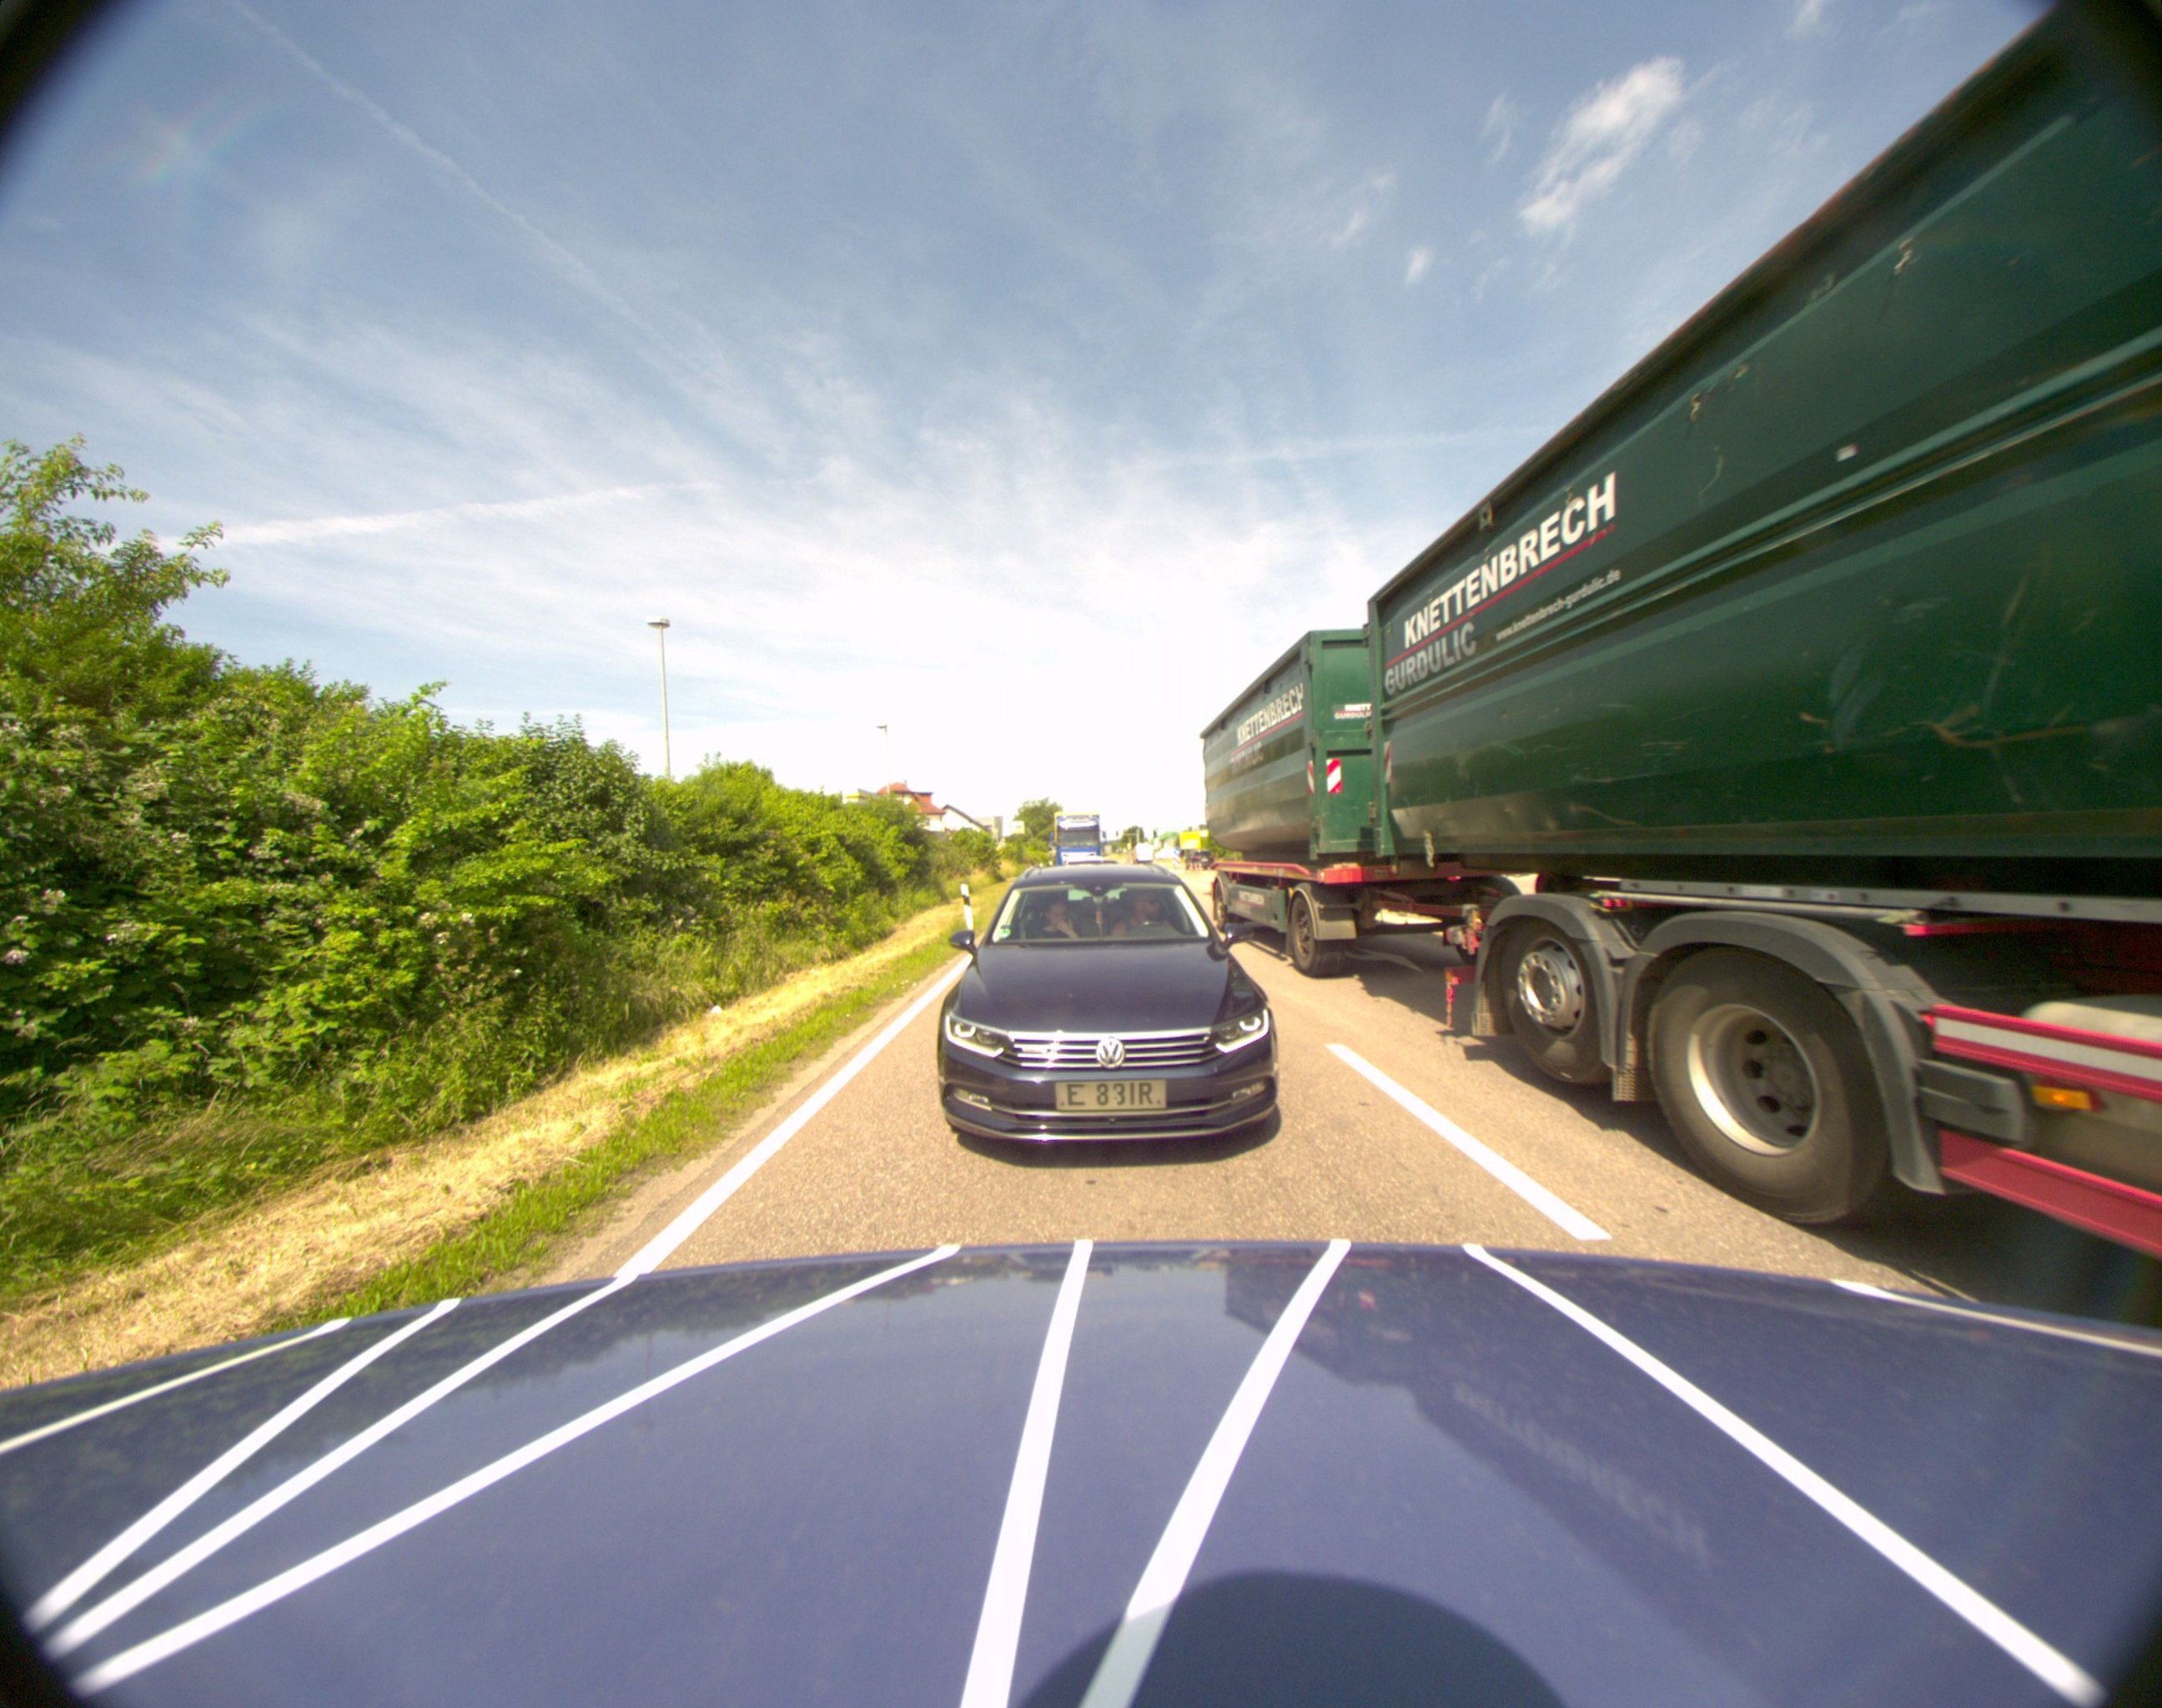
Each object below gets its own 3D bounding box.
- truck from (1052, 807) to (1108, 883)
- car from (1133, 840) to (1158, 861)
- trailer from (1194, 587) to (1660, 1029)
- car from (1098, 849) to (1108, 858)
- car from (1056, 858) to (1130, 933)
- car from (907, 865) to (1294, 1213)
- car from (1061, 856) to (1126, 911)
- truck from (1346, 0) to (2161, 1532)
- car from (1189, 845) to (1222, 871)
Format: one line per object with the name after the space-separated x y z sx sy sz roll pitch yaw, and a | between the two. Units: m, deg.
0.033 -0.515 47.159 2.855 3.999 12.916 -2 0 1 | truck
8.373 -0.437 99.659 2.124 2.639 5.983 -4 0 -5 | car
3.758 -0.409 11.149 2.808 3.897 8.669 -1 0 0 | trailer
4.081 -0.063 139.964 1.819 1.626 3.893 -2 0 1 | car
0.275 0.861 17.385 1.471 1.451 3.797 -2 0 1 | car
0.128 0.904 6.014 1.756 1.493 4.925 -2 0 1 | car
0.387 0.850 23.838 1.814 1.466 3.973 -2 0 1 | car
3.801 -0.406 1.871 2.675 3.897 10.049 -2 0 0 | truck
10.263 0.285 62.912 1.871 1.740 4.108 -5 3 -1 | car
